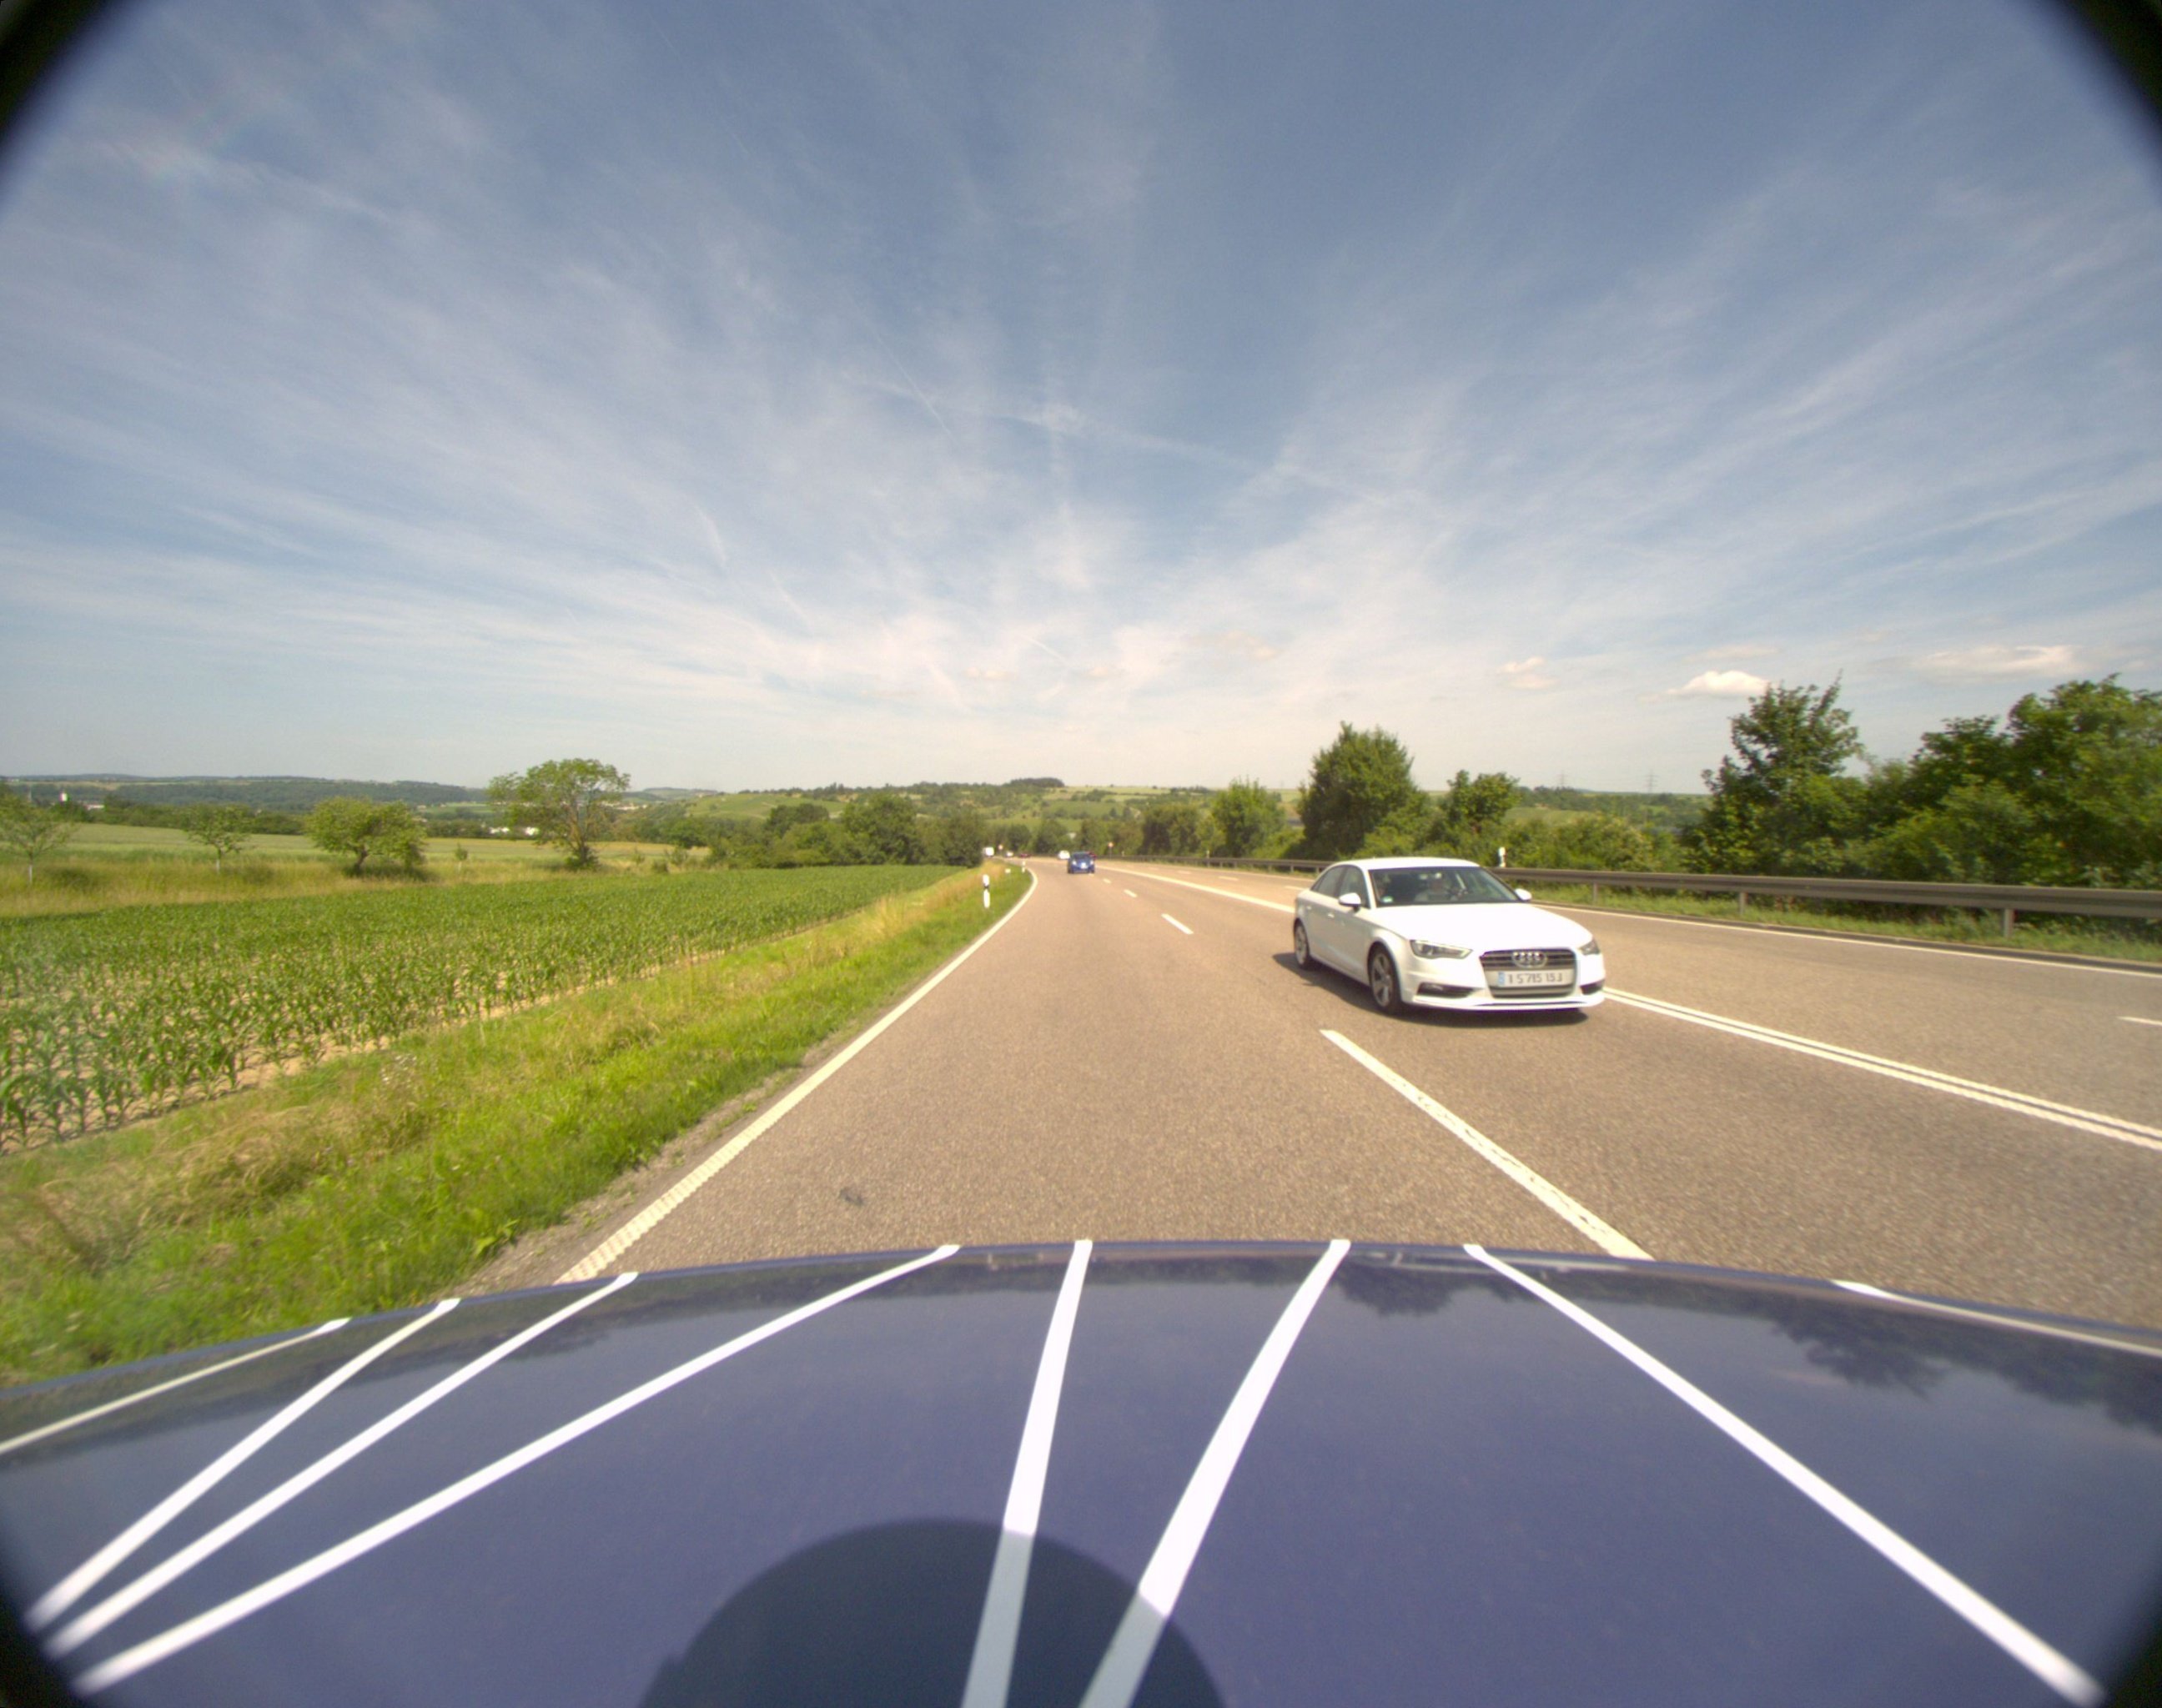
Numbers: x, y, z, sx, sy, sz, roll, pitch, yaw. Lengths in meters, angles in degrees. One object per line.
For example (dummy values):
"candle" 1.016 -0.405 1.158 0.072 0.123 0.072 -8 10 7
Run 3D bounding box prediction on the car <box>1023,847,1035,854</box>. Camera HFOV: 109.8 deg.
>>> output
"car" -11.180 -0.761 162.630 1.724 1.453 4.209 -2 0 -16

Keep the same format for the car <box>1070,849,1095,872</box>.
"car" 0.097 0.446 55.902 1.636 1.522 3.913 -2 1 -2

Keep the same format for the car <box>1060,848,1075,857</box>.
"car" -2.412 -0.217 131.884 1.664 1.449 3.728 -1 1 -17

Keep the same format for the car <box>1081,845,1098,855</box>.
"car" 1.297 -0.621 114.466 1.842 1.447 4.321 -1 1 -9

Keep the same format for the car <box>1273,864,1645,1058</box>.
"car" 3.514 0.864 8.189 1.707 1.368 4.602 -2 0 0

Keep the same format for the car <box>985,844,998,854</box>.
"car" -23.742 -1.256 201.251 2.097 2.380 5.836 -1 -1 -19

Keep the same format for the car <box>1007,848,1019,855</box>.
"car" -16.051 -0.622 179.187 1.820 1.559 4.676 -1 1 -18
